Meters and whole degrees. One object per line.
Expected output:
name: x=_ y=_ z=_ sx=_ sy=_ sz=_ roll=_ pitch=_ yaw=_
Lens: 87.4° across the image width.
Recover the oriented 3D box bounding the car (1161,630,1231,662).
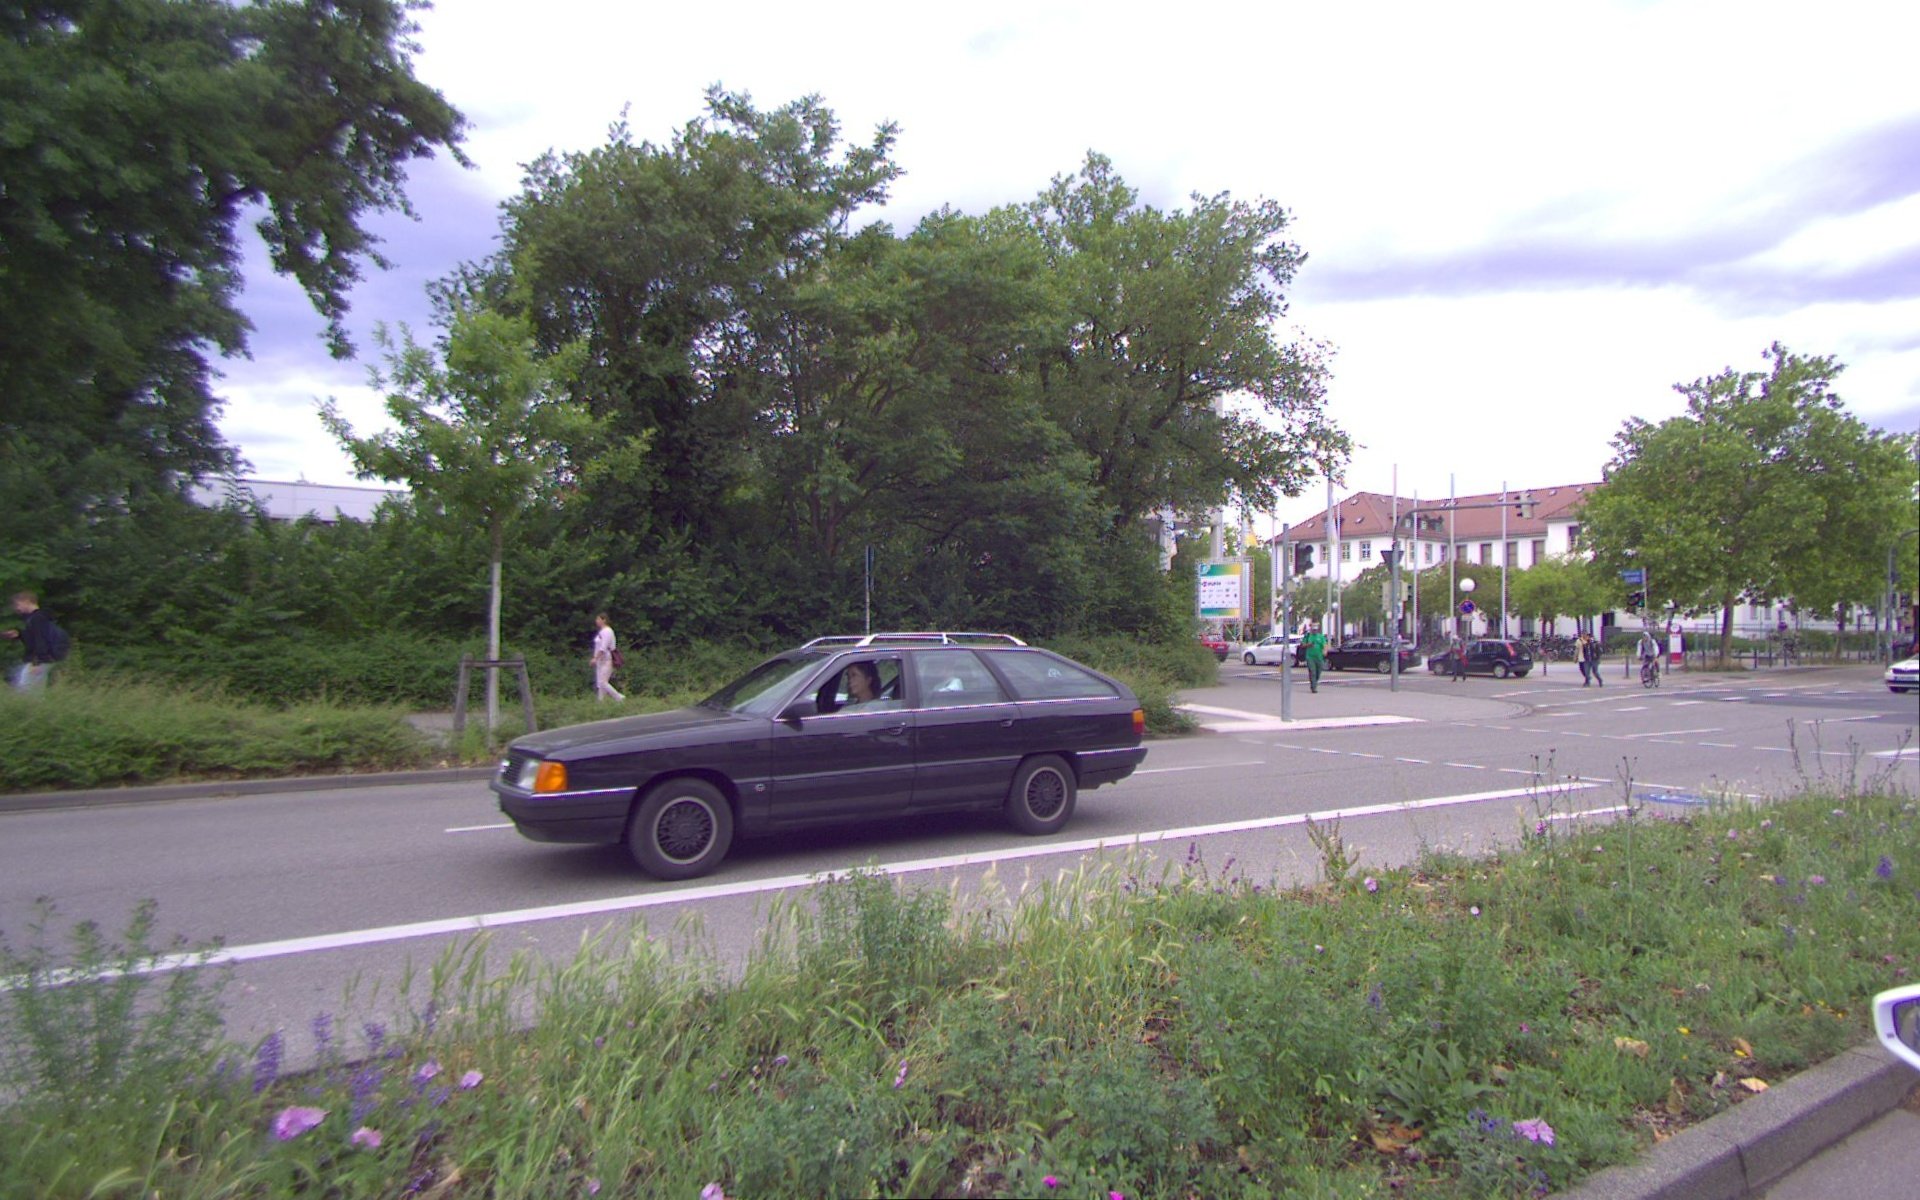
car: x=12.227 y=2.355 z=52.198 sx=1.547 sy=1.499 sz=3.322 roll=1 pitch=0 yaw=-36

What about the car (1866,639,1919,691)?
car: x=29.184 y=1.881 z=29.745 sx=4.162 sy=1.450 sz=1.703 roll=0 pitch=-2 yaw=-20

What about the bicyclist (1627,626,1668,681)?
bicyclist: x=21.402 y=1.670 z=31.271 sx=0.949 sy=1.657 sz=0.663 roll=2 pitch=0 yaw=-28

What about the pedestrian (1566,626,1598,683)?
pedestrian: x=20.037 y=1.751 z=32.365 sx=0.829 sy=1.761 sz=0.828 roll=0 pitch=-6 yaw=36

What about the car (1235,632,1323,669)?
car: x=15.204 y=2.379 z=48.052 sx=1.667 sy=1.560 sz=3.857 roll=-2 pitch=0 yaw=-32

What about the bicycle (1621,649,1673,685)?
bicycle: x=21.372 y=2.083 z=31.265 sx=1.599 sy=1.076 sz=0.663 roll=2 pitch=-1 yaw=-28

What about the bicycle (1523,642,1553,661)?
bicycle: x=32.759 y=2.894 z=56.908 sx=1.385 sy=1.066 sz=0.586 roll=-3 pitch=-3 yaw=41

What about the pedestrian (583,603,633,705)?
pedestrian: x=-5.850 y=0.889 z=16.679 sx=0.663 sy=1.657 sz=0.697 roll=0 pitch=-2 yaw=-30

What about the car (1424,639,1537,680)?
car: x=20.528 y=2.311 z=39.688 sx=1.548 sy=1.240 sz=3.630 roll=-8 pitch=4 yaw=-35

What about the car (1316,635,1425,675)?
car: x=17.551 y=2.312 z=43.071 sx=4.006 sy=1.472 sz=1.613 roll=-2 pitch=3 yaw=43

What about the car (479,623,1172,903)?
car: x=-0.807 y=0.960 z=7.349 sx=4.738 sy=1.479 sz=1.755 roll=2 pitch=-4 yaw=-32

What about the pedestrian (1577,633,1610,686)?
pedestrian: x=19.475 y=1.828 z=30.872 sx=0.780 sy=1.578 sz=0.696 roll=0 pitch=-4 yaw=40

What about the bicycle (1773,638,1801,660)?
bicycle: x=41.779 y=2.467 z=50.715 sx=2.025 sy=1.074 sz=0.603 roll=1 pitch=-3 yaw=-37

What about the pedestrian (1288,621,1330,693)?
pedestrian: x=8.951 y=1.439 z=25.797 sx=0.924 sy=1.782 sz=0.876 roll=2 pitch=0 yaw=16

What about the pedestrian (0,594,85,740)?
pedestrian: x=-11.542 y=0.824 z=12.533 sx=0.809 sy=1.752 sz=0.617 roll=1 pitch=-2 yaw=-30

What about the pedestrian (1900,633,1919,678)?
pedestrian: x=34.690 y=2.016 z=36.338 sx=0.538 sy=1.607 sz=0.868 roll=1 pitch=-3 yaw=-36

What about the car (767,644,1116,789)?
car: x=-0.175 y=1.234 z=11.638 sx=3.763 sy=1.399 sz=1.600 roll=1 pitch=-3 yaw=-30

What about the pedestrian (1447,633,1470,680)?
pedestrian: x=17.119 y=1.929 z=34.458 sx=0.563 sy=1.545 sz=0.846 roll=0 pitch=-6 yaw=36
